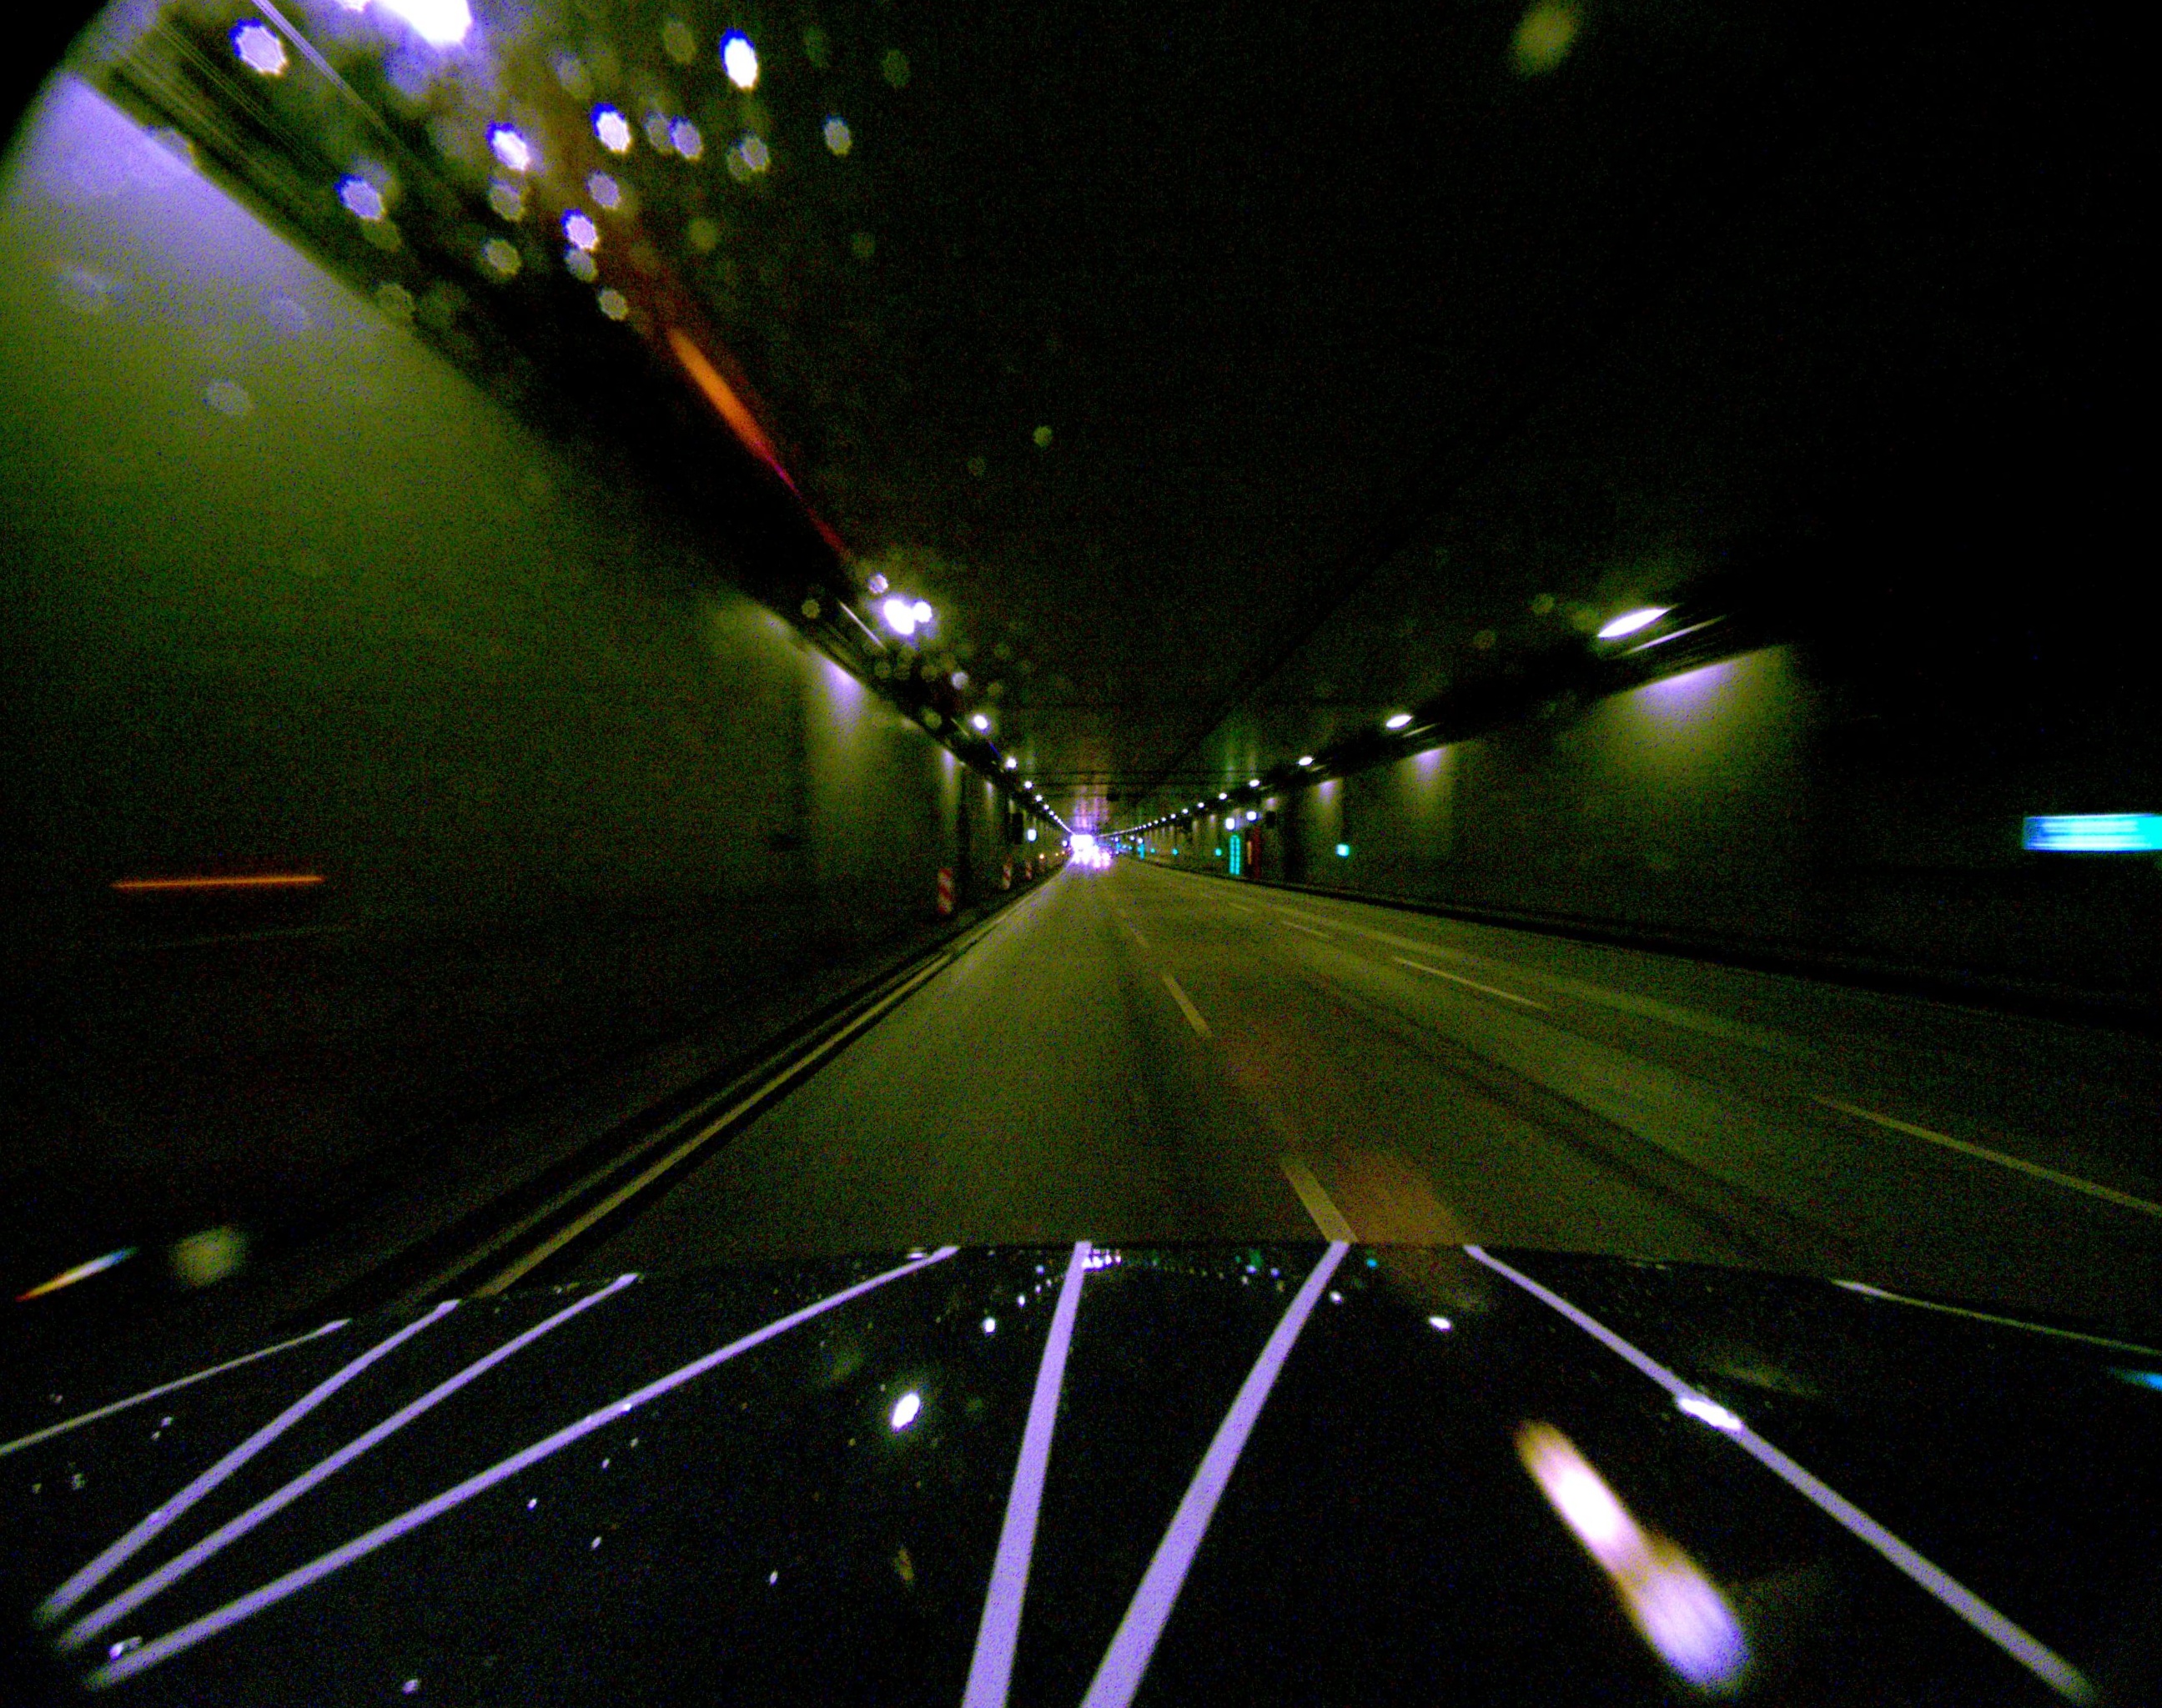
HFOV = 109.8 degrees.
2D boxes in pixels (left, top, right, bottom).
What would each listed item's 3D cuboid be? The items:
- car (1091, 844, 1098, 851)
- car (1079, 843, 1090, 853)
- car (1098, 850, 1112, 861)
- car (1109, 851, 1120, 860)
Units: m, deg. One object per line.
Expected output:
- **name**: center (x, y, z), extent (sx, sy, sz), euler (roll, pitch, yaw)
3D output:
- **car**: center (3.780, -1.793, 216.056), extent (1.998, 1.756, 3.999), euler (-2, 1, 1)
- **car**: center (0.677, -1.096, 142.153), extent (1.998, 1.686, 3.999), euler (-2, 1, 1)
- **car**: center (3.693, 0.245, 115.980), extent (1.998, 1.685, 4.000), euler (-1, 0, 0)
- **car**: center (6.216, 0.257, 140.962), extent (1.998, 1.685, 4.000), euler (-1, 0, 1)
